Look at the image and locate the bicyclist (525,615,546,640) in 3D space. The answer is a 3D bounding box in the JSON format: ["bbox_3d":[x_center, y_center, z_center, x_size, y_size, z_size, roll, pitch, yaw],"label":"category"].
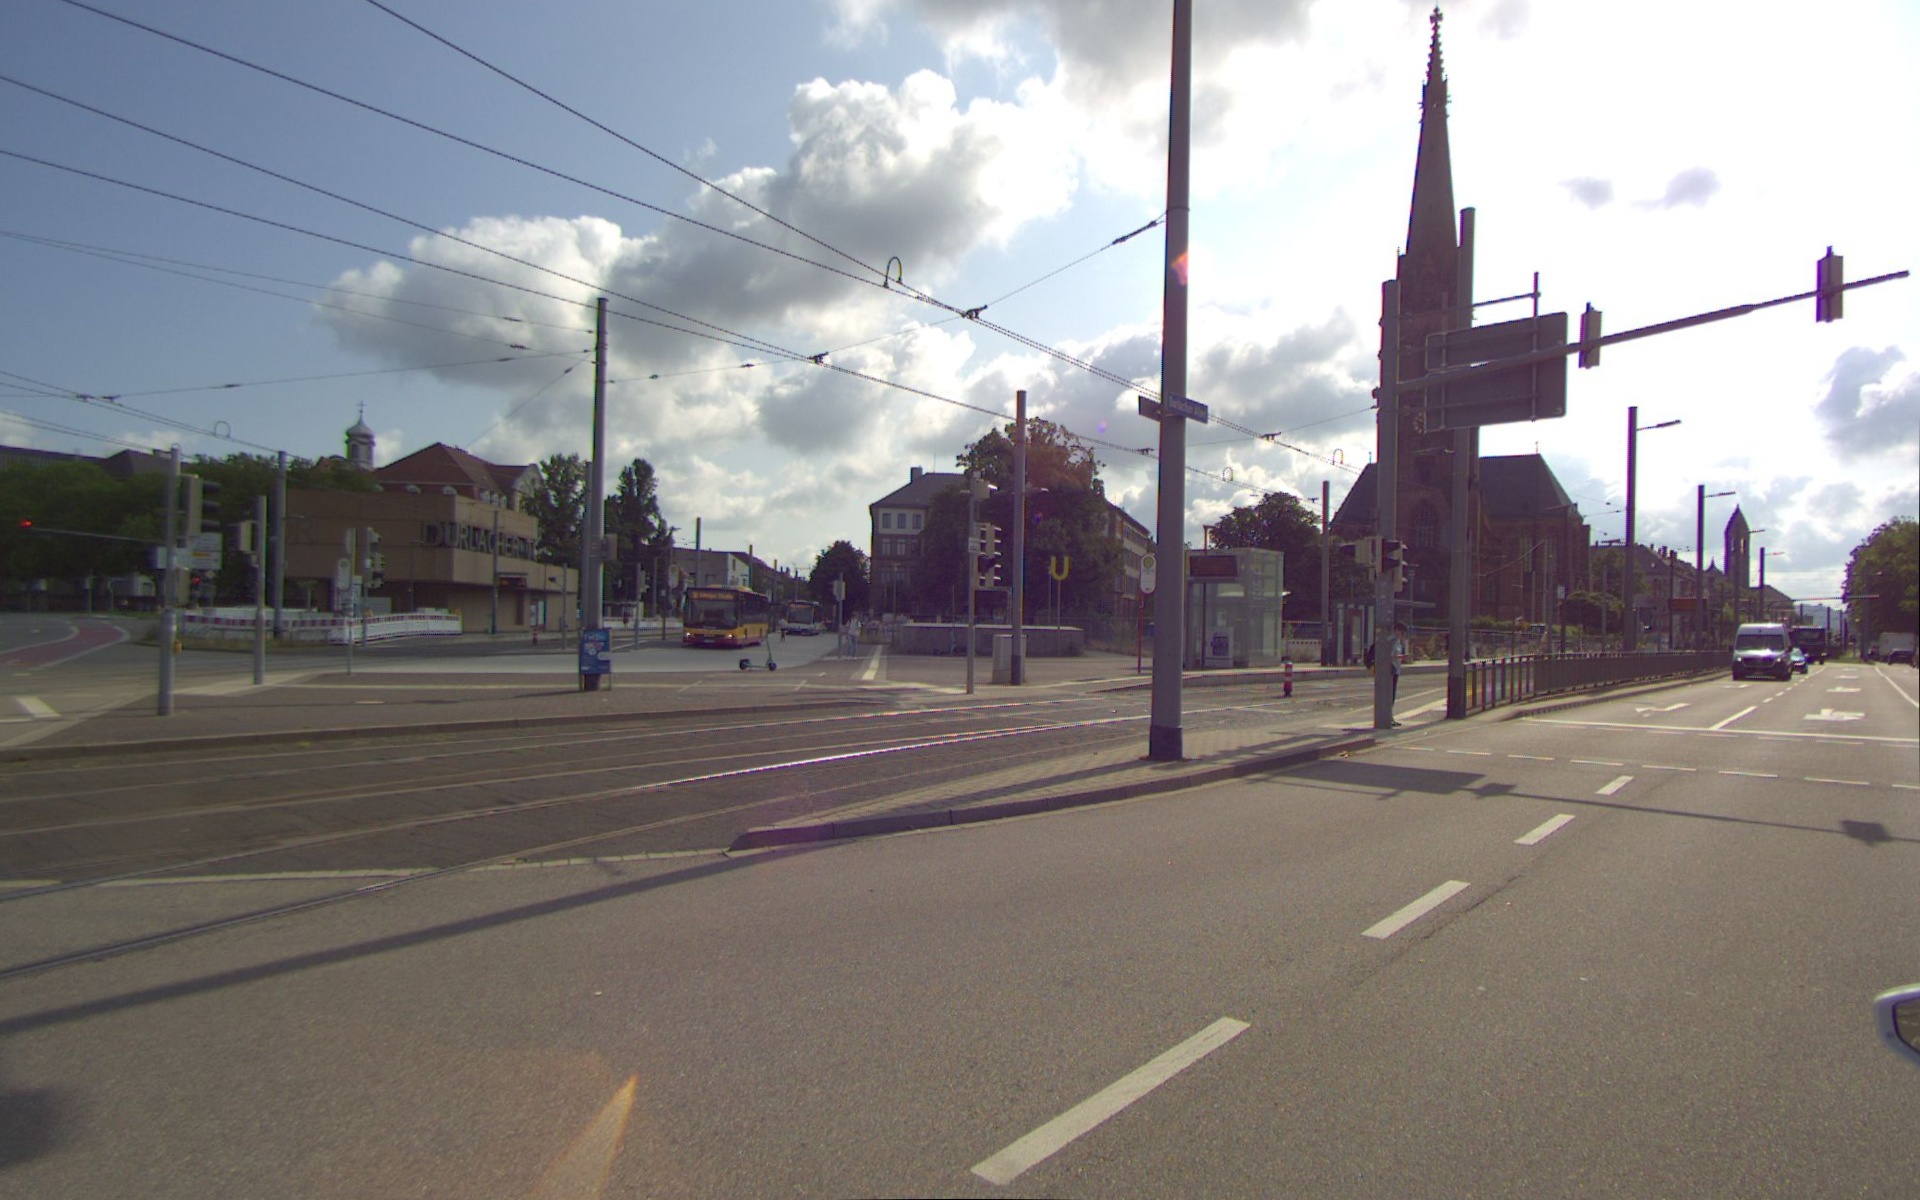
[{"bbox_3d":[-20.588,1.336,48.764,0.684,1.167,0.738,3,-4,-6],"label":"bicyclist"}]

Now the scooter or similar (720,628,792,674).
[{"bbox_3d":[-5.834,1.449,28.684,1.320,1.204,1.486,1,-3,44],"label":"scooter or similar"}]

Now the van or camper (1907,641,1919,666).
[{"bbox_3d":[81.958,4.564,85.114,1.984,1.939,4.506,1,-3,38],"label":"van or camper"}]

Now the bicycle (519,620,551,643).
[{"bbox_3d":[-20.590,1.538,48.736,0.797,1.005,2.069,3,-5,-5],"label":"bicycle"}]

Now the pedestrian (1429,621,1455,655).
[{"bbox_3d":[27.172,2.124,56.590,1.038,1.824,0.988,-3,3,-42],"label":"pedestrian"}]

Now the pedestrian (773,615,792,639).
[{"bbox_3d":[-11.470,1.725,64.826,0.836,1.542,0.798,1,-1,30],"label":"pedestrian"}]

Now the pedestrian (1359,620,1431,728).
[{"bbox_3d":[7.154,1.199,16.519,0.833,1.695,0.791,-3,-2,41],"label":"pedestrian"}]

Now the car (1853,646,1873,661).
[{"bbox_3d":[108.965,6.463,121.168,1.751,1.683,3.979,0,-3,42],"label":"car"}]

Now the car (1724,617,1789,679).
[{"bbox_3d":[37.092,2.182,46.728,1.971,2.656,5.550,-3,-2,41],"label":"car"}]

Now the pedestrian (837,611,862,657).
[{"bbox_3d":[-4.259,1.311,38.749,0.912,1.712,1.096,-1,1,-6],"label":"pedestrian"}]

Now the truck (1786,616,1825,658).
[{"bbox_3d":[77.365,3.389,91.857,2.436,3.697,7.409,0,-1,42],"label":"truck"}]

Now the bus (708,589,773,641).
[{"bbox_3d":[-11.761,0.832,54.284,2.650,2.621,5.075,1,-1,-4],"label":"bus"}]

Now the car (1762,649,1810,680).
[{"bbox_3d":[47.346,3.674,57.572,1.830,1.474,4.528,-4,-2,43],"label":"car"}]

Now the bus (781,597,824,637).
[{"bbox_3d":[-15.022,1.657,96.732,2.908,3.554,12.249,1,-1,-3],"label":"bus"}]

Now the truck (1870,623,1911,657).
[{"bbox_3d":[100.761,4.345,108.779,3.136,3.328,7.257,0,-4,43],"label":"truck"}]

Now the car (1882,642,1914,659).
[{"bbox_3d":[88.102,4.745,94.380,1.970,1.528,3.981,0,-1,40],"label":"car"}]

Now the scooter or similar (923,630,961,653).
[{"bbox_3d":[-0.799,1.820,43.742,1.631,0.962,0.473,1,-1,-3],"label":"scooter or similar"}]

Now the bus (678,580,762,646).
[{"bbox_3d":[-11.370,0.651,48.227,2.648,2.871,7.097,1,-1,-4],"label":"bus"}]
